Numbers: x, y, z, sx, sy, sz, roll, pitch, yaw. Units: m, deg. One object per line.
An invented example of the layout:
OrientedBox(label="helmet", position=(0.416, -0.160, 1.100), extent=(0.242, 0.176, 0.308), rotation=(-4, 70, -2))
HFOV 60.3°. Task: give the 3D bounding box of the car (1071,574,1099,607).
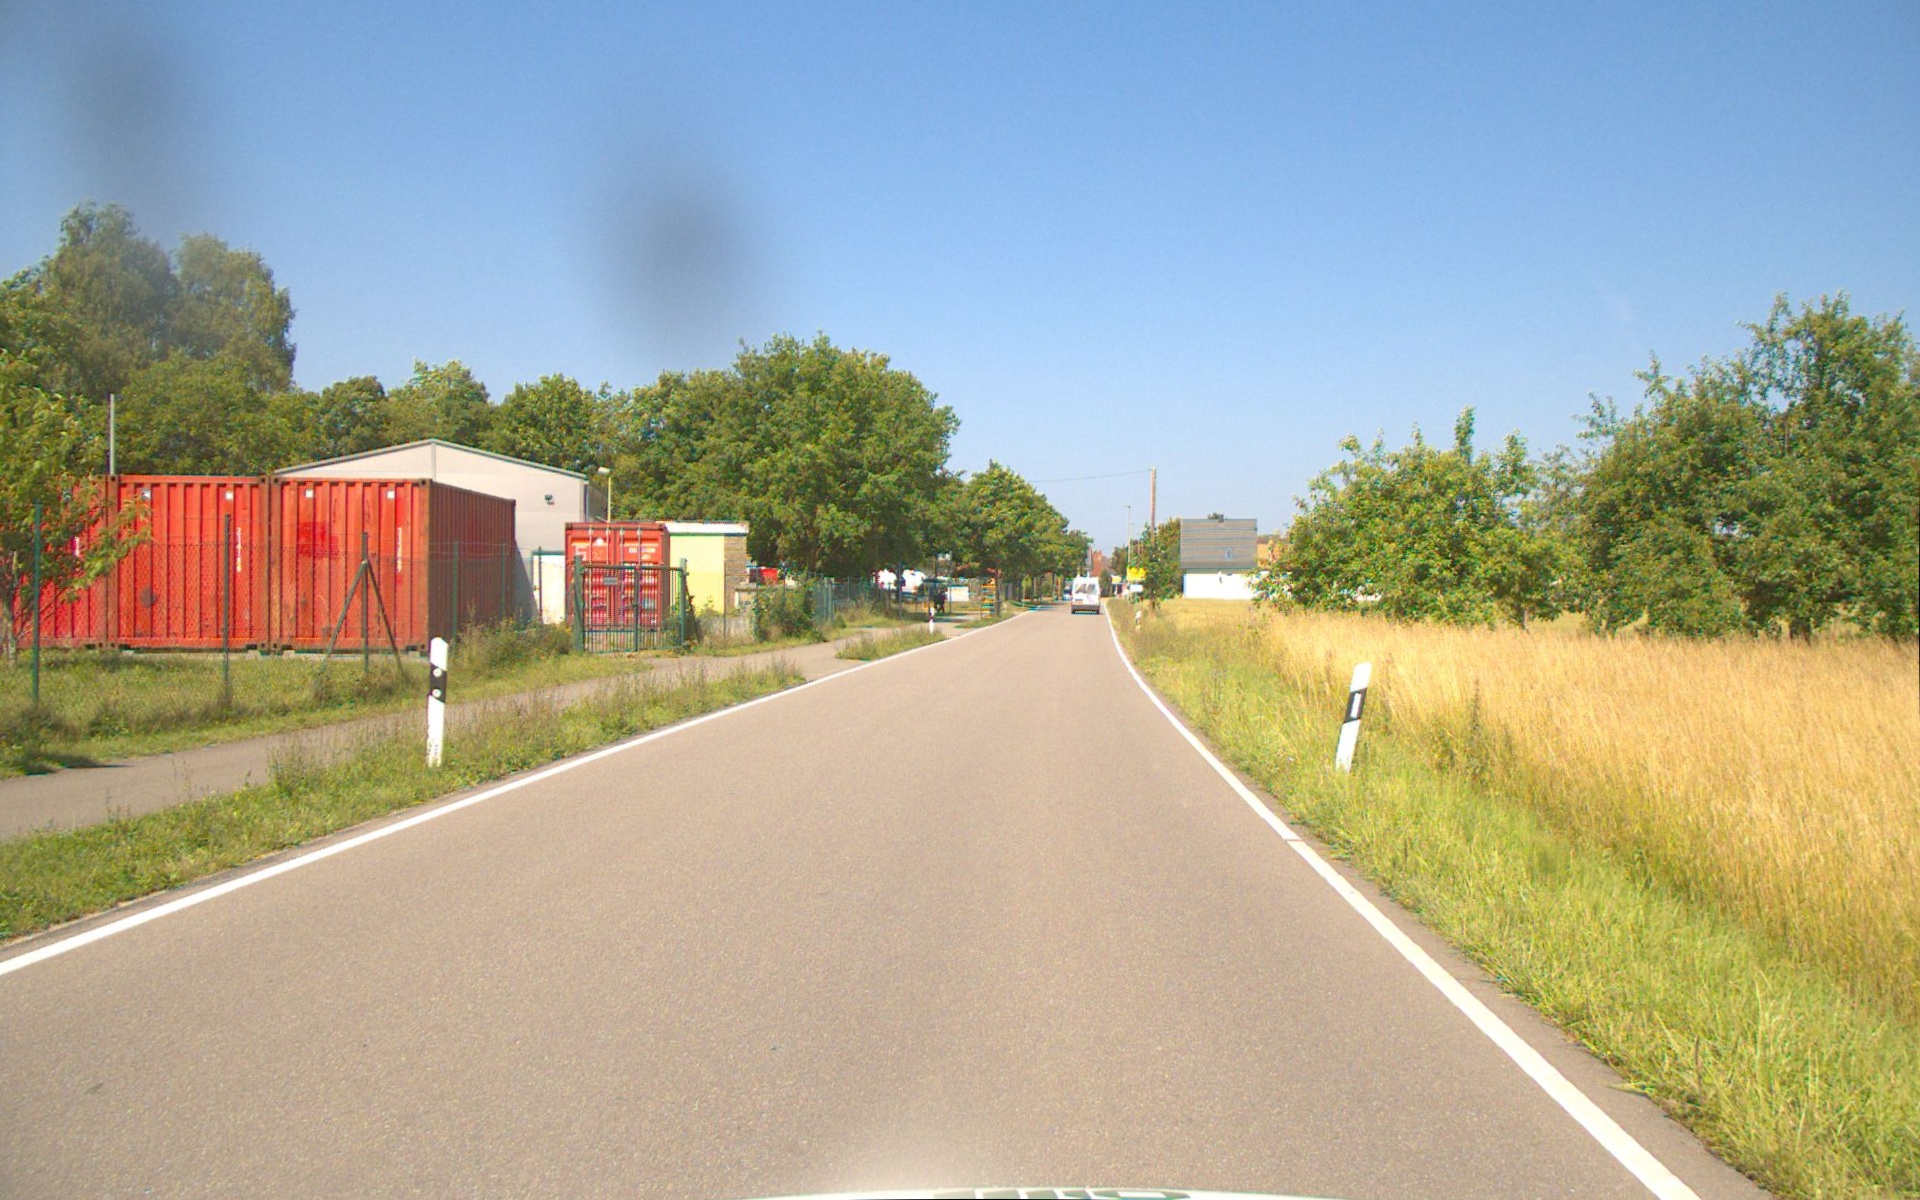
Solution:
OrientedBox(label="car", position=(8.825, -0.655, 116.481), extent=(1.951, 2.306, 4.729), rotation=(0, 0, 5))

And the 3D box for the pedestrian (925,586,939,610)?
OrientedBox(label="pedestrian", position=(-1.905, -0.138, 111.295), extent=(0.664, 1.593, 0.718), rotation=(0, 0, 28))

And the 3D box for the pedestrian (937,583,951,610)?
OrientedBox(label="pedestrian", position=(-1.105, -0.254, 111.813), extent=(0.706, 1.834, 0.709), rotation=(0, 0, 29))

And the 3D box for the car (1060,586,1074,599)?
OrientedBox(label="car", position=(13.998, -0.980, 216.219), extent=(1.733, 1.618, 4.002), rotation=(0, 0, 5))

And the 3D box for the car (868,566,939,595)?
OrientedBox(label="car", position=(-4.484, -1.527, 132.304), extent=(5.546, 2.306, 1.976), rotation=(0, 0, -34))
